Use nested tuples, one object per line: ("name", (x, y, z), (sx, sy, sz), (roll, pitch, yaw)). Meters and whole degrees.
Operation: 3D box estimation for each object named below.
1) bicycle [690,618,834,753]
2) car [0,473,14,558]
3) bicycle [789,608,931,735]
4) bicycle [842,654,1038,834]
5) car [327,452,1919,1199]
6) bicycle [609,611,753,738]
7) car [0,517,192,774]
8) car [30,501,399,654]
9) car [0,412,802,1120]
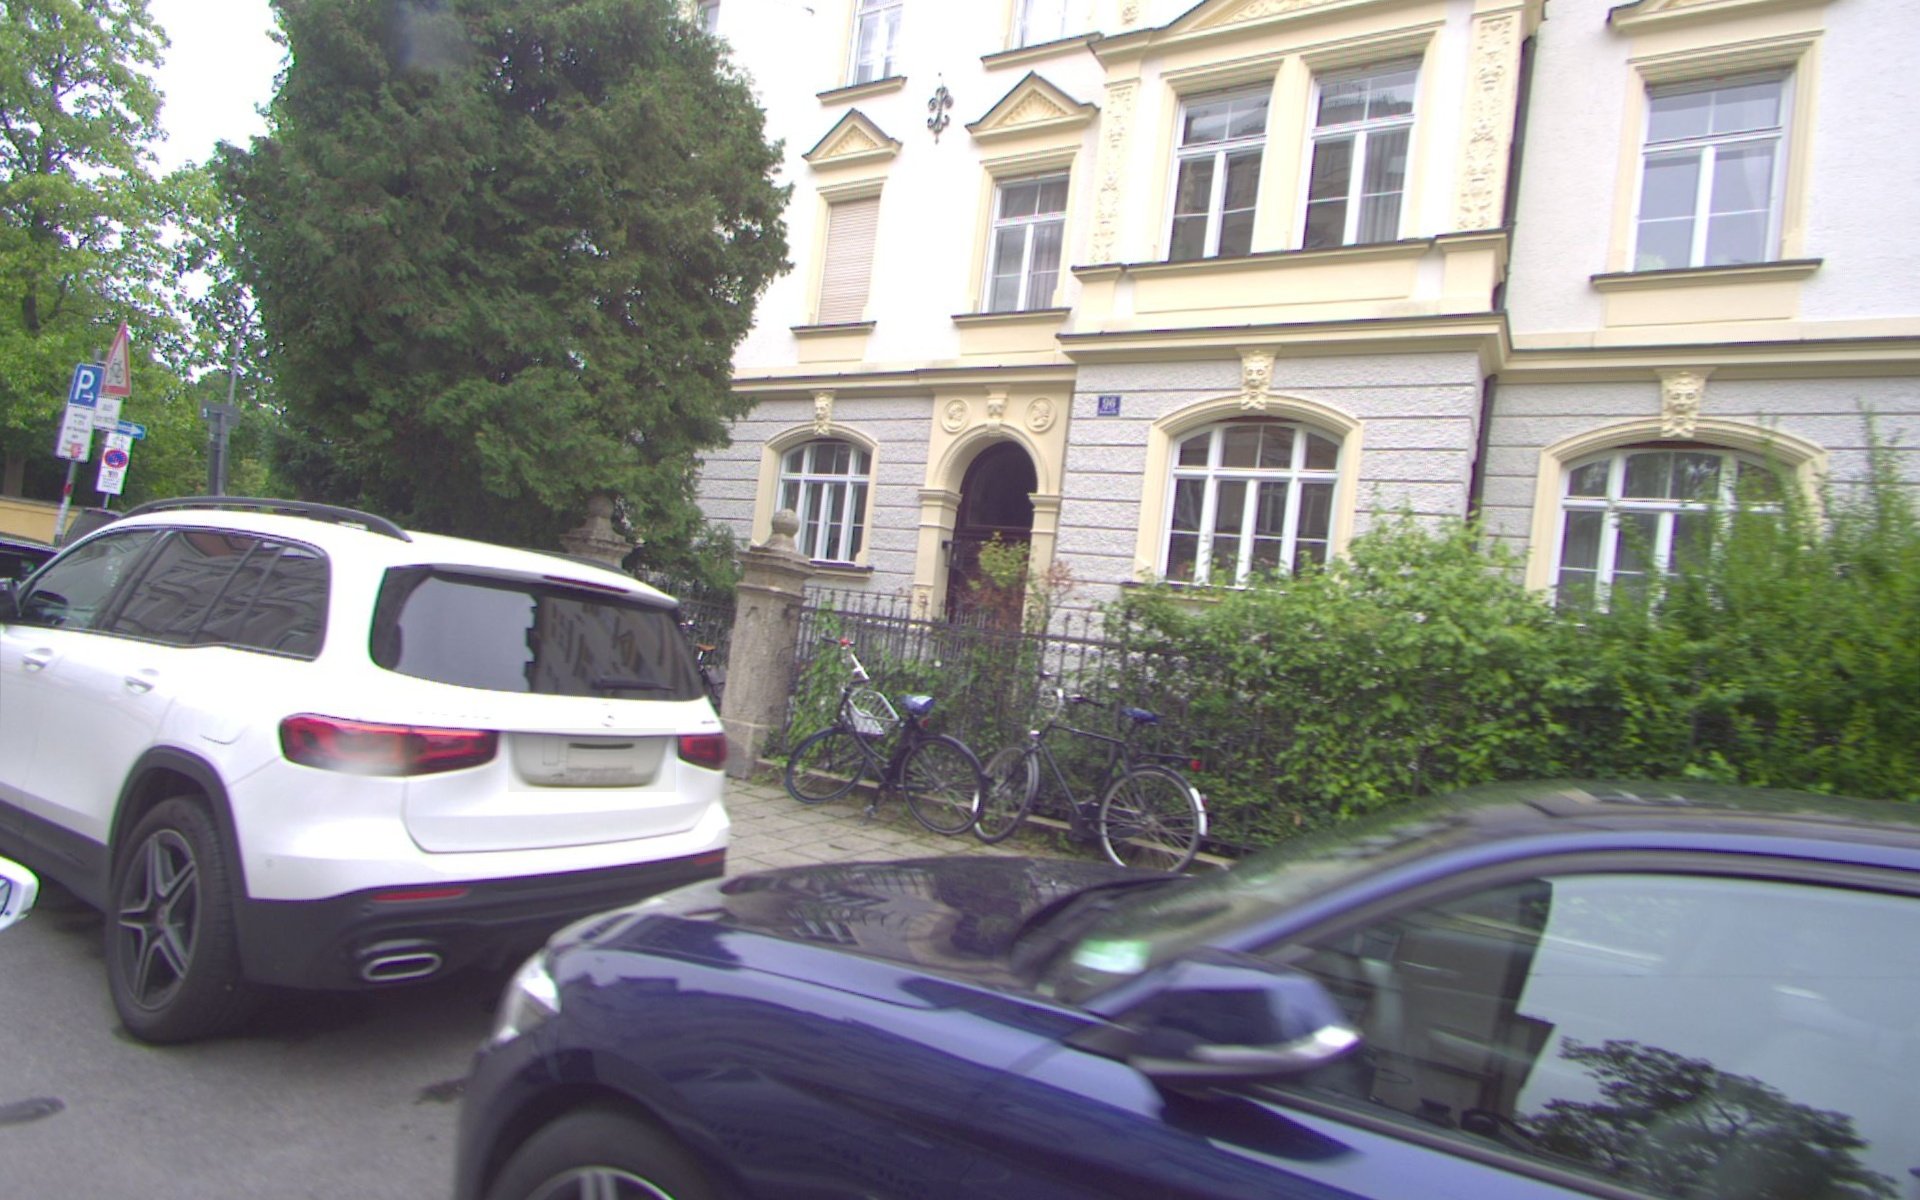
("bicycle", (-1.783, 0.785, 9.216), (0.448, 1.111, 1.312), (5, -2, 29))
("car", (-11.202, -0.499, 9.492), (4.587, 1.976, 1.956), (7, -3, 31))
("bicycle", (-1.006, 0.791, 10.573), (0.481, 1.196, 1.704), (5, -4, 29))
("bicycle", (-0.159, 1.030, 7.445), (1.291, 1.111, 0.455), (5, -1, 30))
("car", (1.191, 0.834, 1.664), (4.347, 1.628, 1.756), (6, -3, 28))
("bicycle", (-2.921, 0.822, 10.679), (0.481, 1.211, 1.493), (6, -4, 26))
("car", (-7.293, 0.151, 6.956), (3.569, 1.534, 1.729), (5, -5, 30))
("car", (-12.360, -0.256, 17.093), (1.869, 1.973, 4.543), (8, -1, 25))
("car", (-3.018, 0.376, 4.426), (4.341, 1.787, 1.728), (5, -5, 32))
